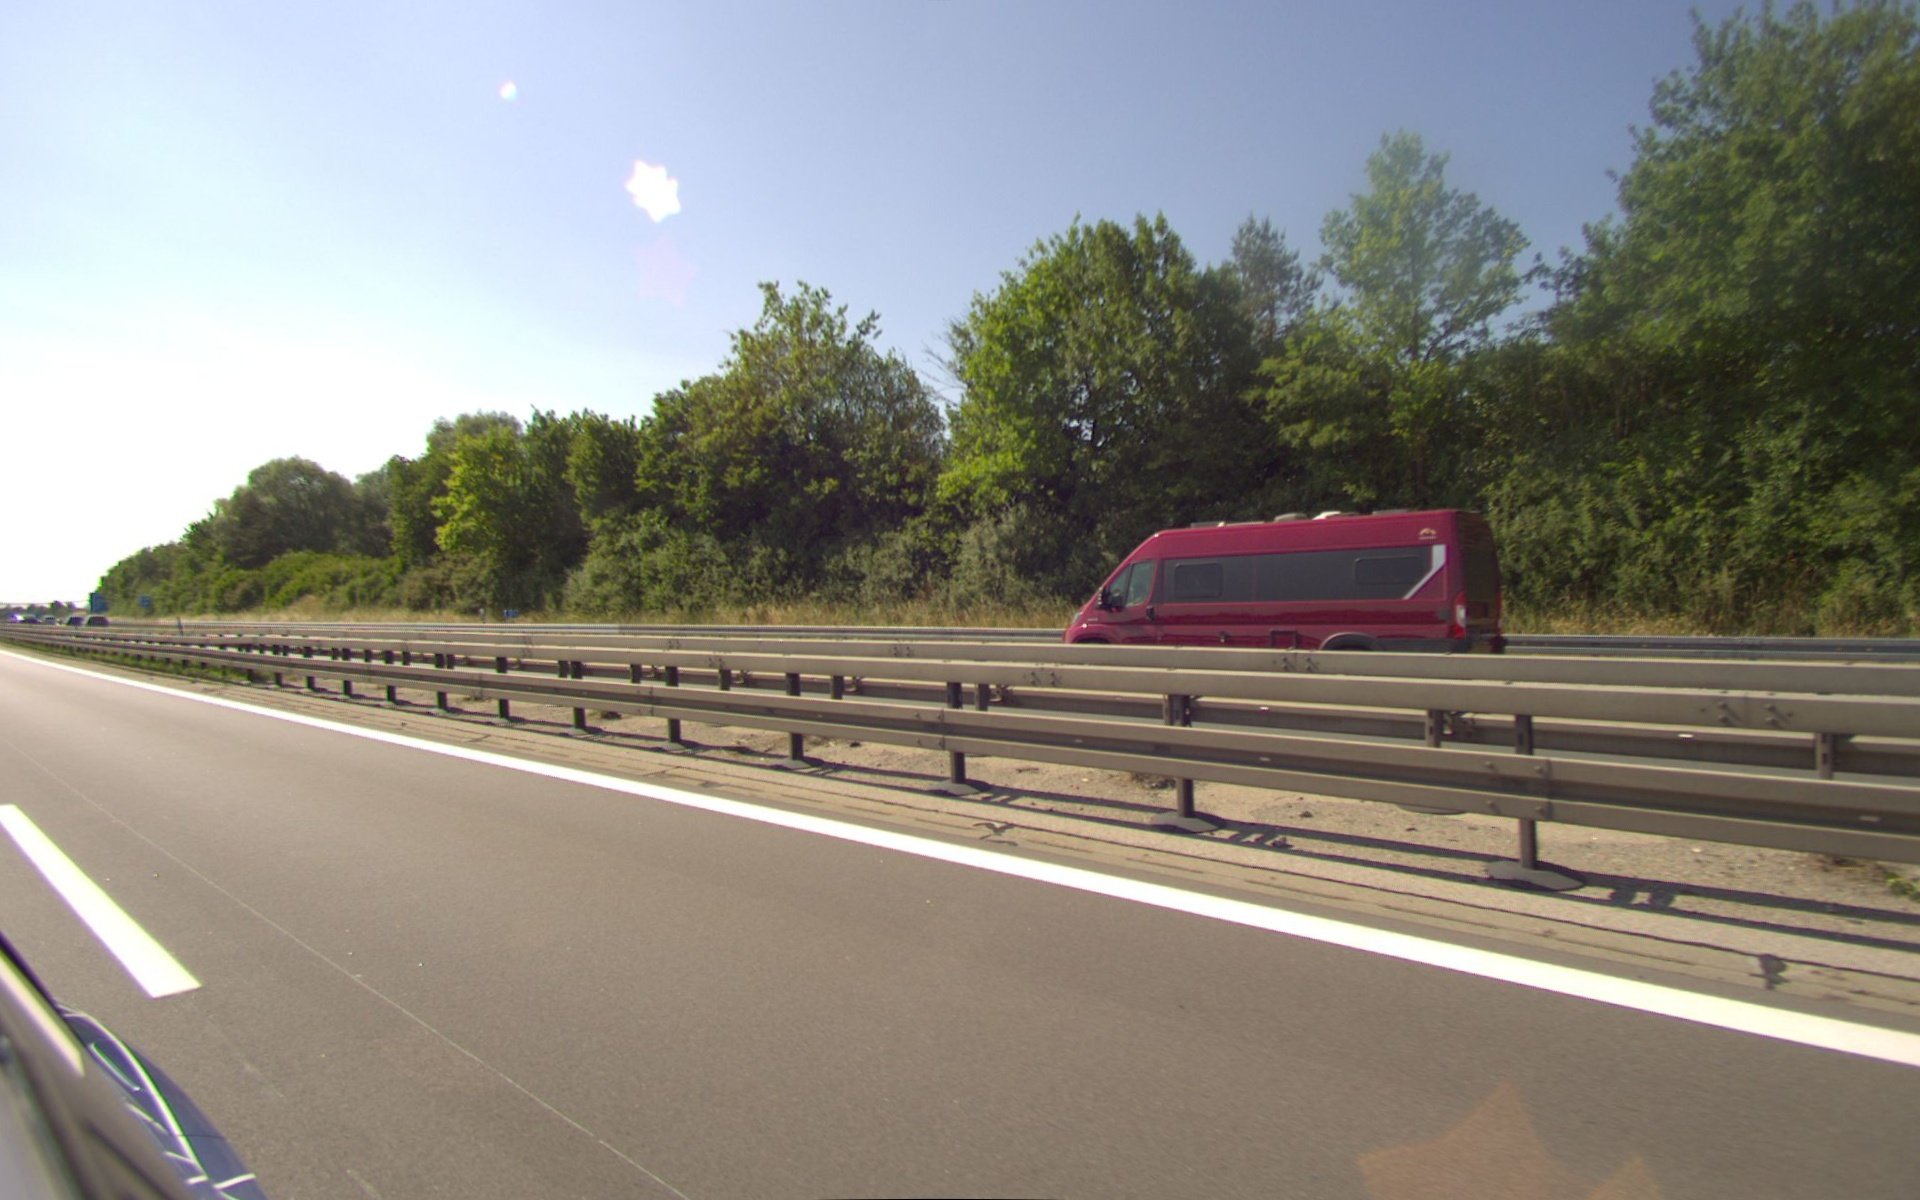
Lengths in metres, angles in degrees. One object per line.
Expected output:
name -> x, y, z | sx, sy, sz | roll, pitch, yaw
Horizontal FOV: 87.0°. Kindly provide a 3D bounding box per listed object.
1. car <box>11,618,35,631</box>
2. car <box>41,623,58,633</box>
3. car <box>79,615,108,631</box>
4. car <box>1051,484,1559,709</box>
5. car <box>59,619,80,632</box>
car -> -108.199, 2.871, 116.852 | 4.000, 1.433, 1.644 | -1, 0, 43
car -> -152.248, 4.739, 169.217 | 4.581, 1.576, 1.732 | -1, 1, 44
car -> -82.451, 2.194, 96.299 | 4.000, 1.433, 1.644 | -1, 0, 43
car -> 4.773, -0.013, 14.897 | 6.590, 2.614, 2.517 | -1, 1, 41
car -> -102.202, 2.905, 116.084 | 1.560, 1.473, 4.155 | -2, 0, -45
